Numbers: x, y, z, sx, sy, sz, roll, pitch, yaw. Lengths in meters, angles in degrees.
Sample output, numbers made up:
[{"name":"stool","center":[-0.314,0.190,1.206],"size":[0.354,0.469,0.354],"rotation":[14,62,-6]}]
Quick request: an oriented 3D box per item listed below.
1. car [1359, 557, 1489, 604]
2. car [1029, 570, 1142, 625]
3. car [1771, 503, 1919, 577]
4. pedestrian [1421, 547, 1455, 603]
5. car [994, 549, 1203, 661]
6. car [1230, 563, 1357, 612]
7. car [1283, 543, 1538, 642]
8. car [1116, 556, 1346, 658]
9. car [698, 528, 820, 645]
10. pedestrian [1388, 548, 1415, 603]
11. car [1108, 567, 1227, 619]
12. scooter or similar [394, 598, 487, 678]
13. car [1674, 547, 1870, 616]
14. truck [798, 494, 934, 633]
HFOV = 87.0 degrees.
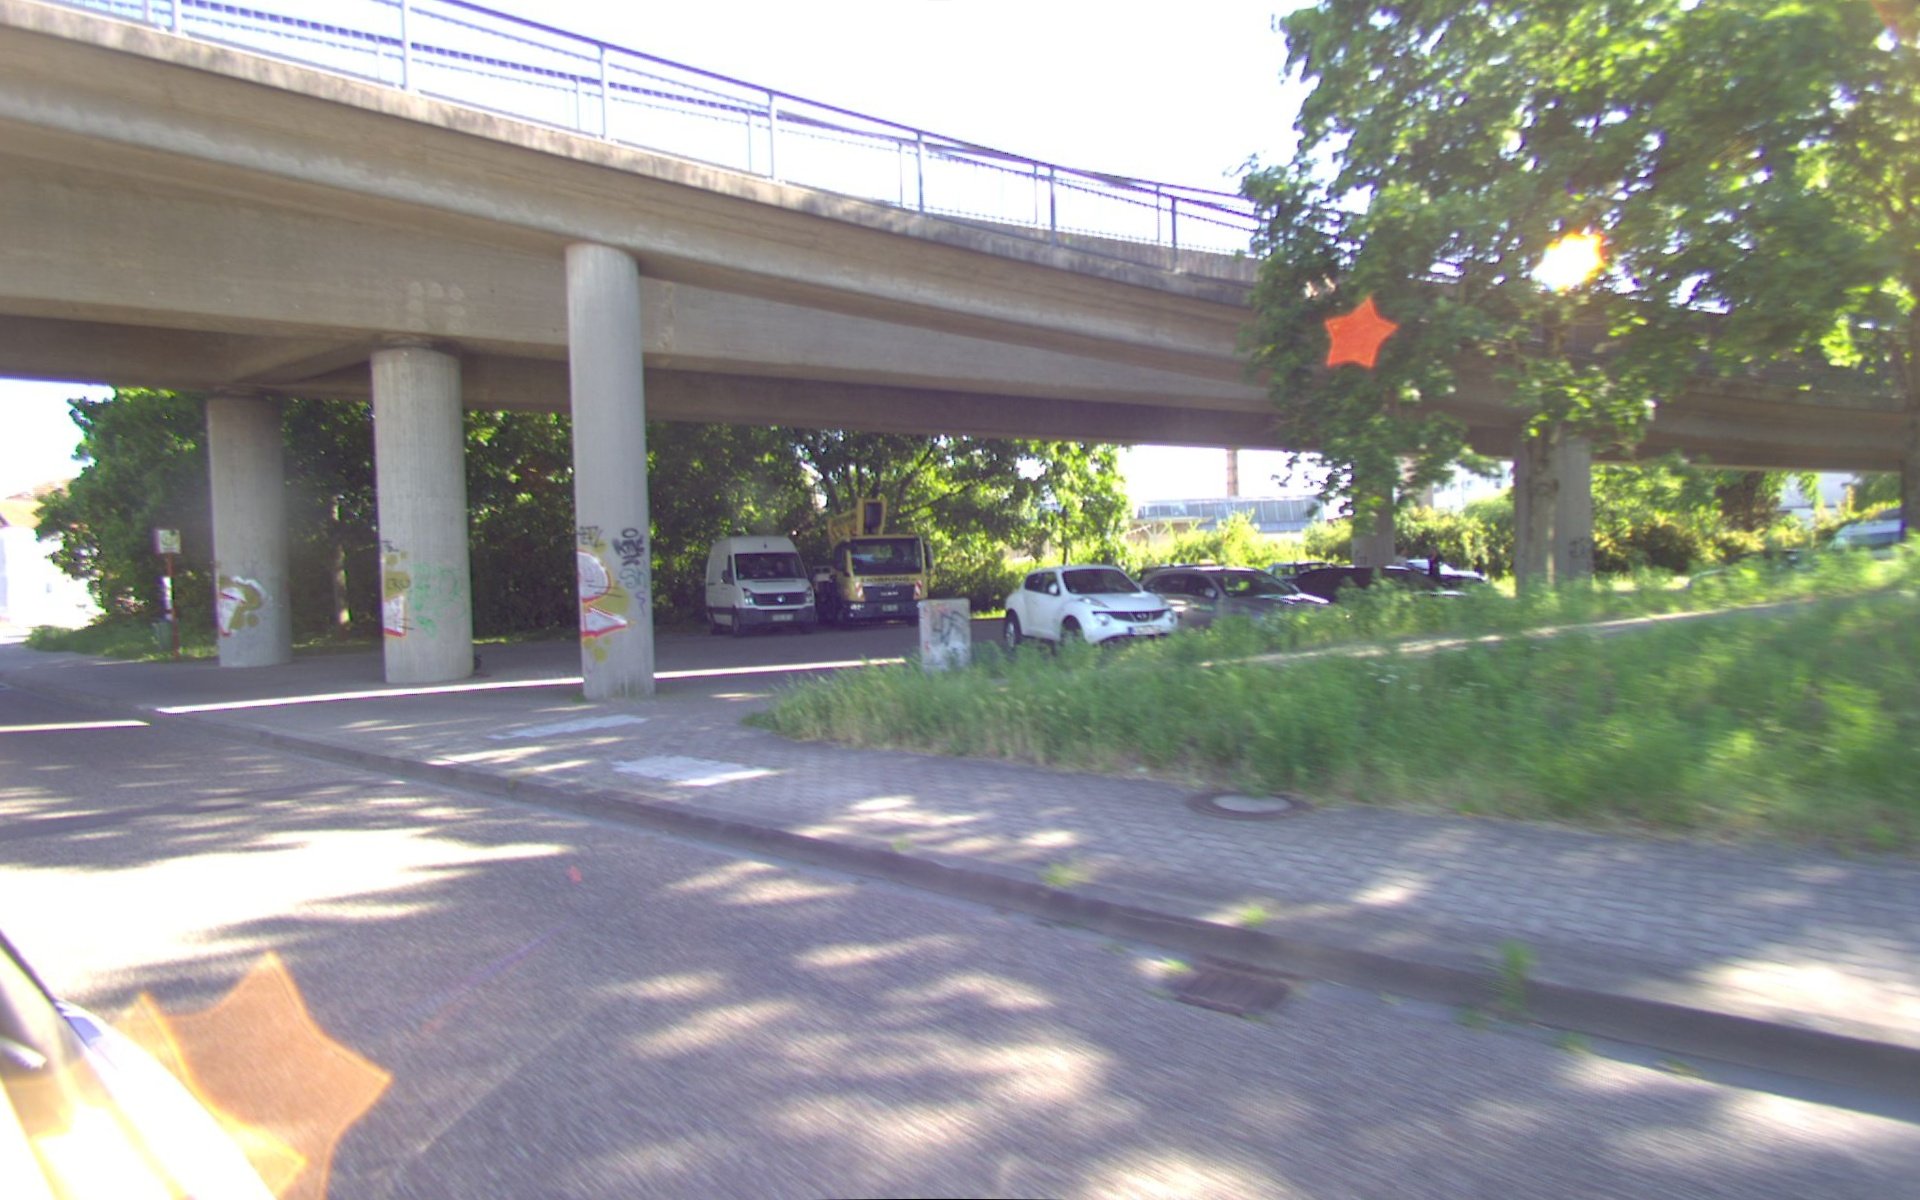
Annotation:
[{"name":"car","center":[15.713,-0.648,34.527],"size":[1.711,1.453,4.262],"rotation":[-2,1,-14]},{"name":"car","center":[3.650,-0.087,30.230],"size":[1.710,1.453,4.264],"rotation":[-2,1,-17]},{"name":"car","center":[34.247,-2.191,37.815],"size":[1.968,2.525,6.419],"rotation":[-2,1,-10]},{"name":"pedestrian","center":[14.731,-0.771,31.200],"size":[0.658,1.675,0.711],"rotation":[-2,1,-41]},{"name":"car","center":[2.183,0.110,17.291],"size":[1.837,1.654,4.295],"rotation":[1,-1,-18]},{"name":"car","center":[10.752,-0.409,32.965],"size":[1.710,1.453,4.264],"rotation":[-2,1,-17]},{"name":"car","center":[8.077,-0.140,18.618],"size":[1.654,1.564,4.313],"rotation":[-2,1,-22]},{"name":"car","center":[4.651,0.089,18.054],"size":[1.654,1.564,4.313],"rotation":[-2,1,-22]},{"name":"car","center":[-5.462,-0.299,26.731],"size":[1.913,2.701,6.029],"rotation":[-2,0,-23]},{"name":"pedestrian","center":[13.706,-0.750,31.422],"size":[0.663,1.675,0.706],"rotation":[-1,1,17]},{"name":"car","center":[6.289,-0.221,31.174],"size":[1.710,1.453,4.264],"rotation":[-2,1,-17]},{"name":"scooter or similar","center":[-8.989,0.647,17.557],"size":[1.287,1.310,0.580],"rotation":[-2,1,-12]},{"name":"car","center":[20.235,-0.466,25.237],"size":[4.225,1.564,1.689],"rotation":[-2,1,-17]},{"name":"truck","center":[-3.051,-0.996,30.228],"size":[2.440,3.578,7.992],"rotation":[-2,1,-16]}]
